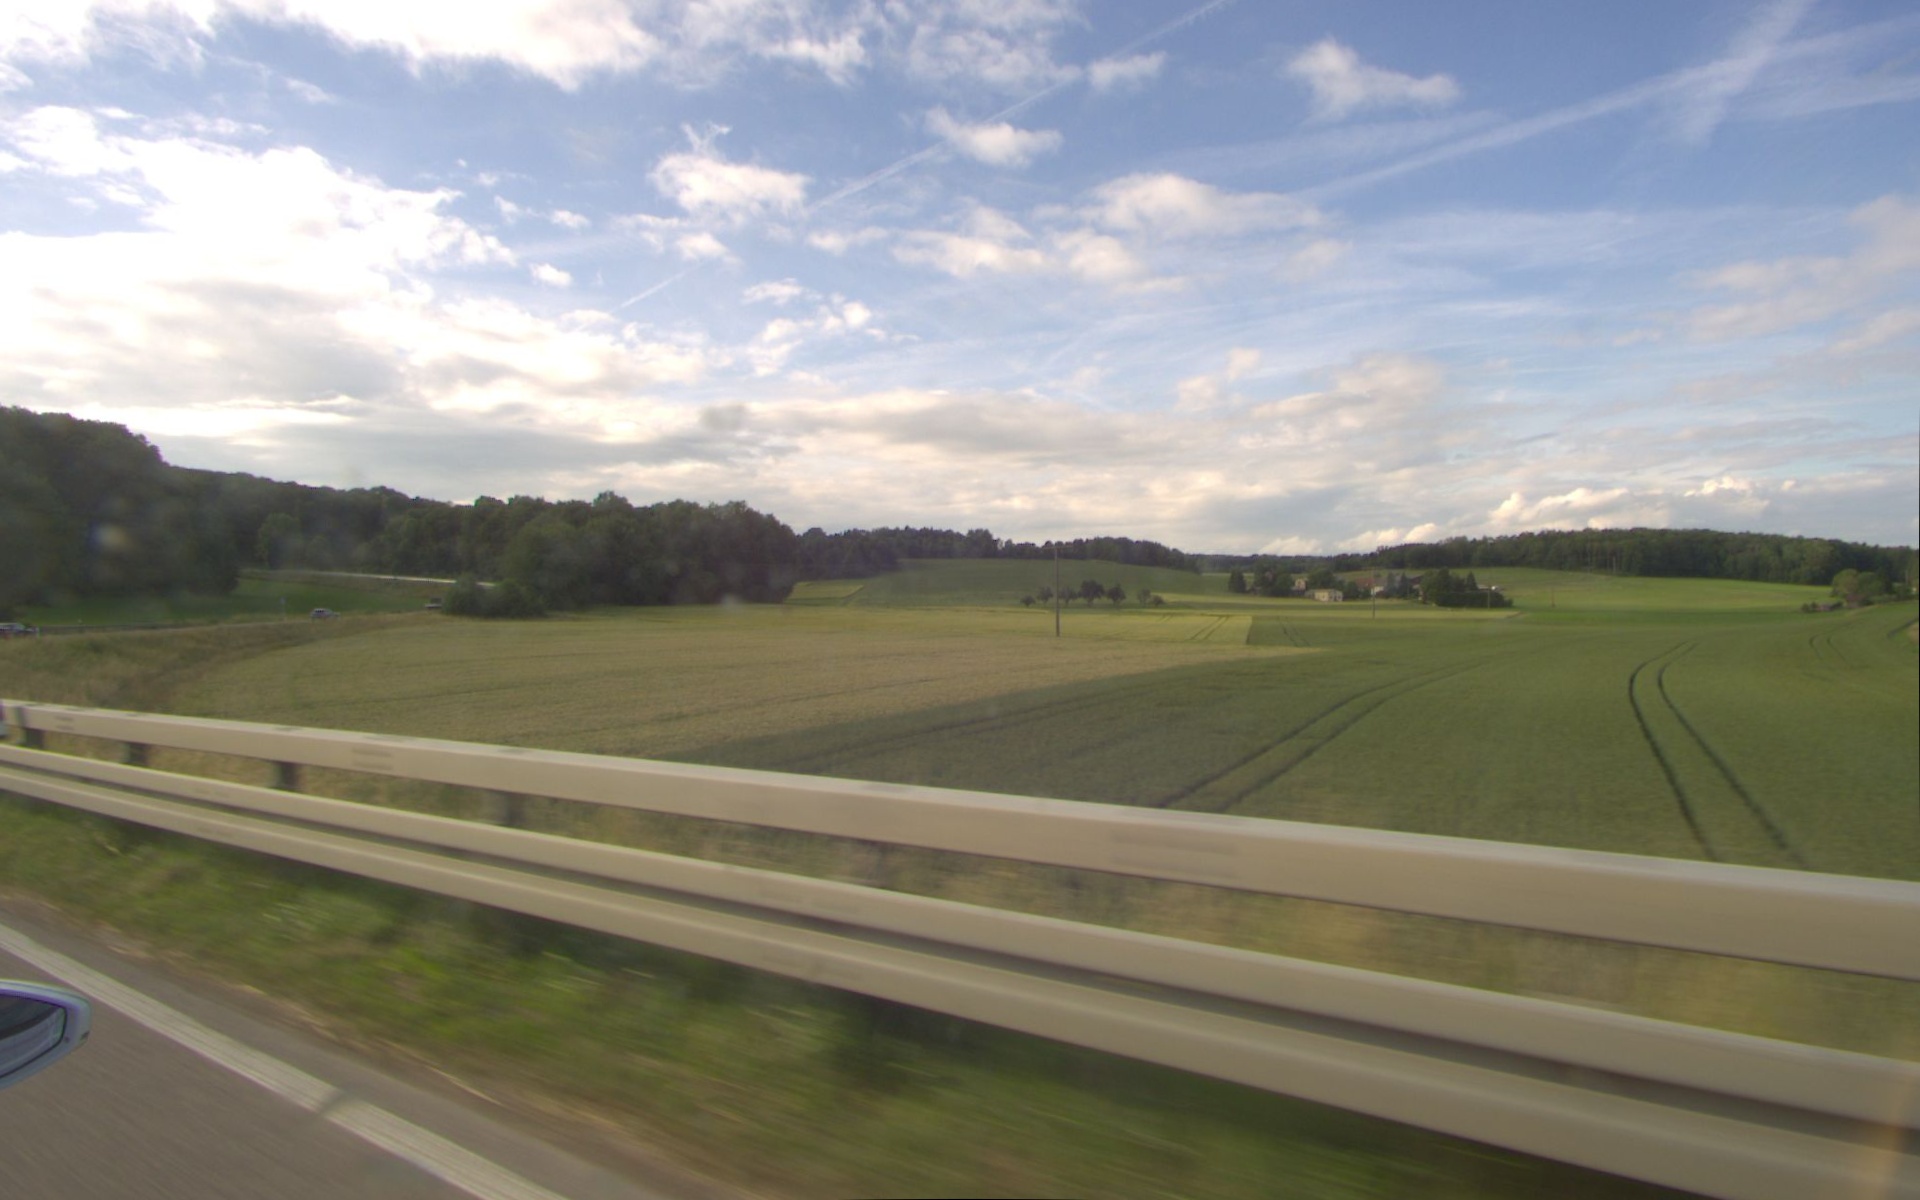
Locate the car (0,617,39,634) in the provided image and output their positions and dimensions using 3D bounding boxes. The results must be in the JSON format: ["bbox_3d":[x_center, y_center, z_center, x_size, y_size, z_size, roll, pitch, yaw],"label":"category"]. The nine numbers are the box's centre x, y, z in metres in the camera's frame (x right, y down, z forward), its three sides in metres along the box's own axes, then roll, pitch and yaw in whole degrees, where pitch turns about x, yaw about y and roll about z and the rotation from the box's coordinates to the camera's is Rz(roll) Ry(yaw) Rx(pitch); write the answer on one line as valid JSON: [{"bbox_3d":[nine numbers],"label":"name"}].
[{"bbox_3d":[-74.667,2.013,79.360,1.452,1.243,3.288,-1,-1,-24],"label":"car"}]

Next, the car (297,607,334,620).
[{"bbox_3d":[-87.944,1.892,136.648,1.962,1.701,4.176,1,0,10],"label":"car"}]

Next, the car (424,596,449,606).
[{"bbox_3d":[-89.877,0.183,171.822,1.961,1.795,3.999,1,0,6],"label":"car"}]
